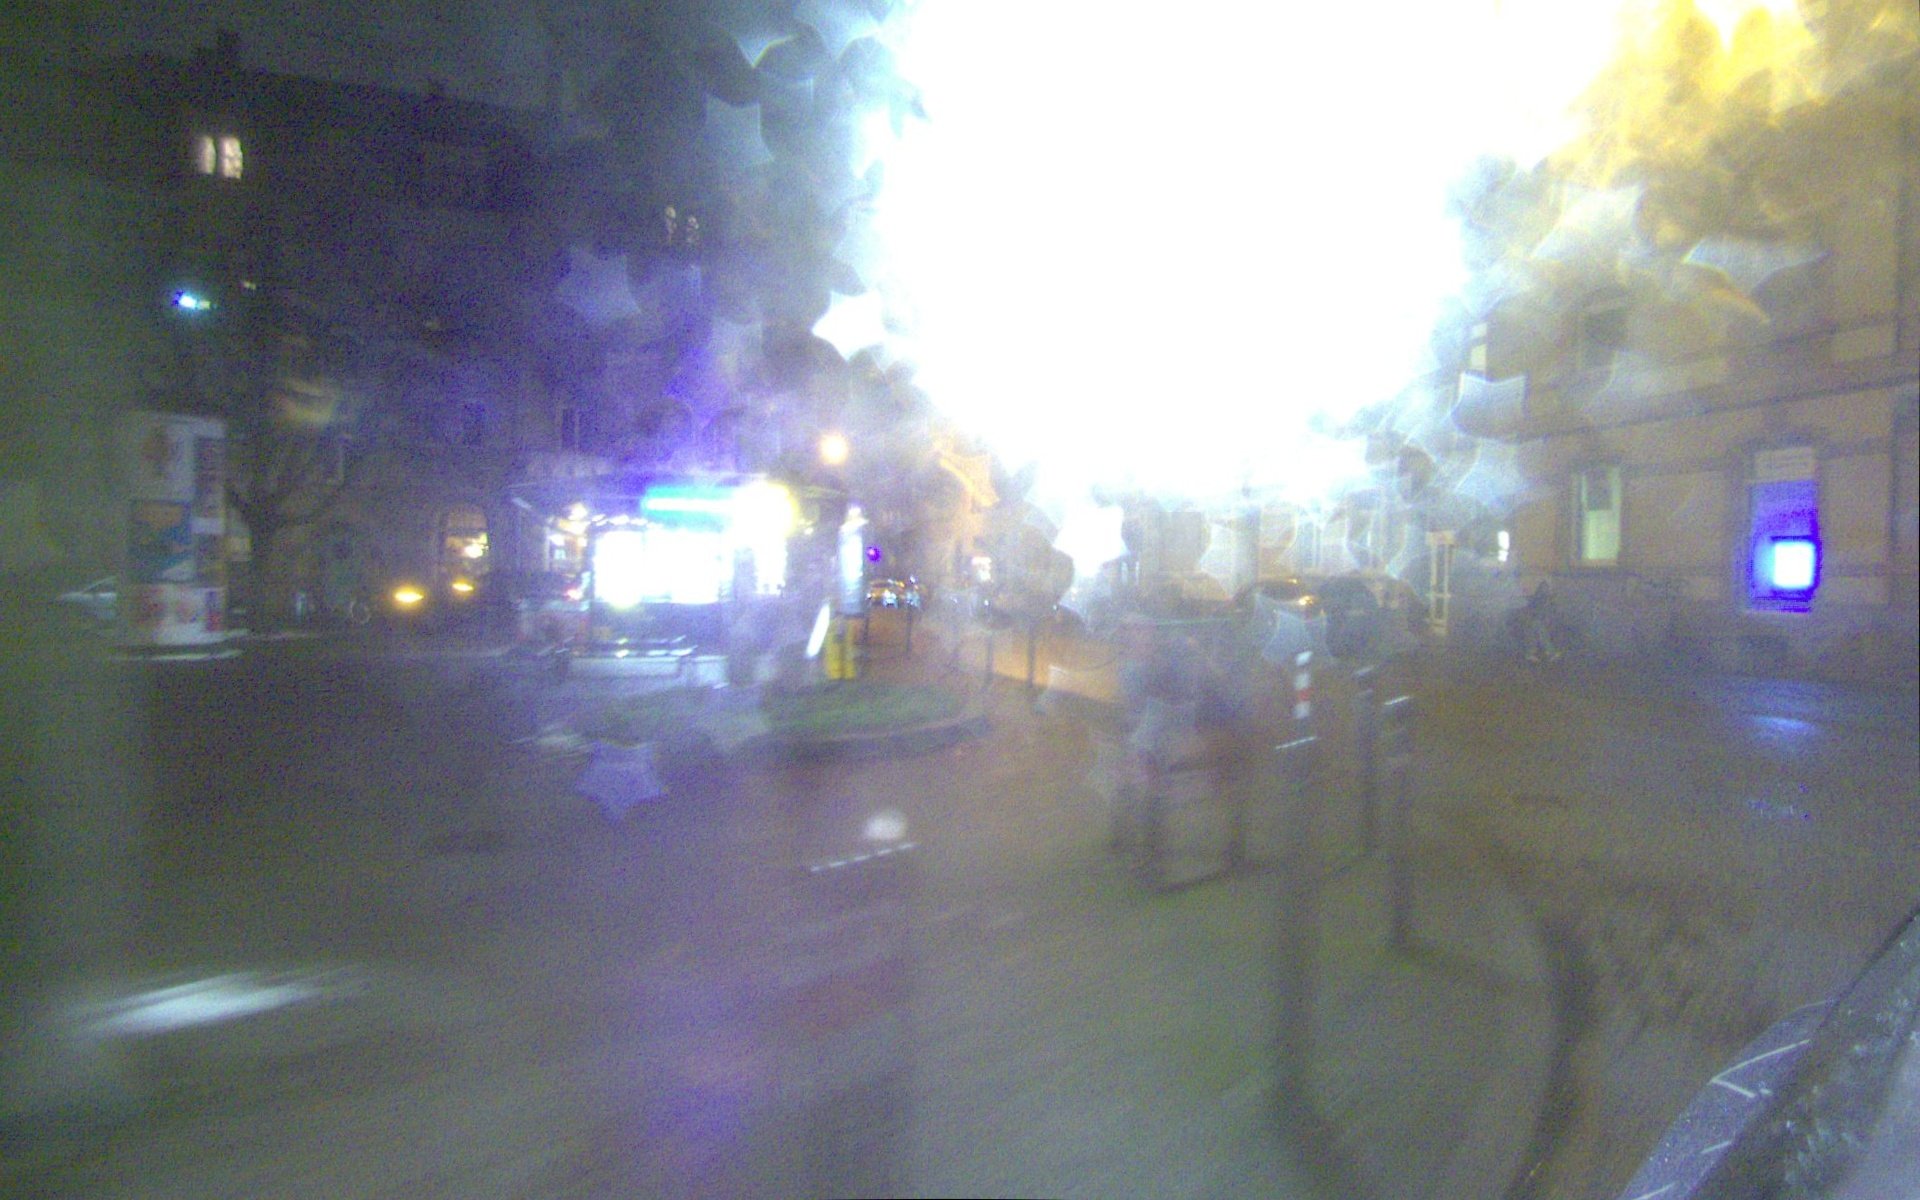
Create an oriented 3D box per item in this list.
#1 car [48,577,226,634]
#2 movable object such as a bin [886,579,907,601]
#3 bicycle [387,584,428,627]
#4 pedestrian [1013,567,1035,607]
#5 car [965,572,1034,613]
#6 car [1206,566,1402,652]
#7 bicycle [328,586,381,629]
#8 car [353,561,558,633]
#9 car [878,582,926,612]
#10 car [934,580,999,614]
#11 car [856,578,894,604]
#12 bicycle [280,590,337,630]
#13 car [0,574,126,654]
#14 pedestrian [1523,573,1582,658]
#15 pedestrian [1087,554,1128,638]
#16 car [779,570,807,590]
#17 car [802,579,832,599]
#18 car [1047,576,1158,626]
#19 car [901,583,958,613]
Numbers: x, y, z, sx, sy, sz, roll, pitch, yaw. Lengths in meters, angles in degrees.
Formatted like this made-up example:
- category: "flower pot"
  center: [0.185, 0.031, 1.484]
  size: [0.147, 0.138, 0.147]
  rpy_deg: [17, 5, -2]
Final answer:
- category: "car"
  center: [-21.944, 0.126, 27.121]
  size: [3.344, 1.476, 1.614]
  rpy_deg: [0, 1, -16]
- category: "movable object such as a bin"
  center: [-4.485, -0.696, 71.327]
  size: [1.081, 1.472, 1.382]
  rpy_deg: [1, 1, -19]
- category: "bicycle"
  center: [-15.979, 0.138, 29.320]
  size: [0.497, 1.129, 1.989]
  rpy_deg: [-2, 2, -13]
- category: "pedestrian"
  center: [2.933, -0.608, 46.391]
  size: [0.730, 1.826, 0.989]
  rpy_deg: [-2, 2, -14]
- category: "car"
  center: [1.586, -0.330, 42.254]
  size: [1.714, 1.608, 3.774]
  rpy_deg: [0, 1, -17]
- category: "car"
  center: [7.583, 0.137, 22.864]
  size: [1.800, 1.738, 4.605]
  rpy_deg: [0, 1, -17]
- category: "bicycle"
  center: [-17.263, 0.191, 28.882]
  size: [0.688, 1.129, 1.989]
  rpy_deg: [-2, 2, -13]
- category: "car"
  center: [-13.037, -0.068, 26.481]
  size: [4.478, 1.638, 1.931]
  rpy_deg: [2, 0, -16]
- category: "car"
  center: [-3.302, -0.173, 57.232]
  size: [1.742, 1.592, 4.144]
  rpy_deg: [0, 1, -17]
- category: "car"
  center: [0.237, -0.185, 46.766]
  size: [1.800, 1.499, 4.316]
  rpy_deg: [0, 1, -17]
- category: "car"
  center: [-5.384, -0.593, 63.718]
  size: [1.642, 1.509, 3.730]
  rpy_deg: [-1, 1, -17]
- category: "bicycle"
  center: [-18.384, 0.249, 28.594]
  size: [0.688, 1.022, 1.989]
  rpy_deg: [-2, 2, -13]
- category: "car"
  center: [-19.328, 0.244, 19.783]
  size: [4.328, 1.521, 1.775]
  rpy_deg: [0, 1, -21]
- category: "pedestrian"
  center: [11.325, 0.275, 19.356]
  size: [0.645, 1.571, 0.763]
  rpy_deg: [-2, 2, -32]
- category: "pedestrian"
  center: [3.612, -0.115, 24.805]
  size: [0.656, 1.998, 0.758]
  rpy_deg: [0, 2, 45]
- category: "car"
  center: [-16.100, -1.911, 97.438]
  size: [1.960, 1.852, 5.218]
  rpy_deg: [0, 1, -17]
- category: "car"
  center: [-12.129, -0.964, 85.535]
  size: [1.736, 1.501, 4.782]
  rpy_deg: [-3, 2, -16]
- category: "car"
  center: [4.580, -0.025, 33.238]
  size: [1.800, 1.505, 4.605]
  rpy_deg: [0, 1, -17]
- category: "car"
  center: [-1.605, -0.119, 51.830]
  size: [1.789, 1.407, 4.435]
  rpy_deg: [0, 1, -17]
